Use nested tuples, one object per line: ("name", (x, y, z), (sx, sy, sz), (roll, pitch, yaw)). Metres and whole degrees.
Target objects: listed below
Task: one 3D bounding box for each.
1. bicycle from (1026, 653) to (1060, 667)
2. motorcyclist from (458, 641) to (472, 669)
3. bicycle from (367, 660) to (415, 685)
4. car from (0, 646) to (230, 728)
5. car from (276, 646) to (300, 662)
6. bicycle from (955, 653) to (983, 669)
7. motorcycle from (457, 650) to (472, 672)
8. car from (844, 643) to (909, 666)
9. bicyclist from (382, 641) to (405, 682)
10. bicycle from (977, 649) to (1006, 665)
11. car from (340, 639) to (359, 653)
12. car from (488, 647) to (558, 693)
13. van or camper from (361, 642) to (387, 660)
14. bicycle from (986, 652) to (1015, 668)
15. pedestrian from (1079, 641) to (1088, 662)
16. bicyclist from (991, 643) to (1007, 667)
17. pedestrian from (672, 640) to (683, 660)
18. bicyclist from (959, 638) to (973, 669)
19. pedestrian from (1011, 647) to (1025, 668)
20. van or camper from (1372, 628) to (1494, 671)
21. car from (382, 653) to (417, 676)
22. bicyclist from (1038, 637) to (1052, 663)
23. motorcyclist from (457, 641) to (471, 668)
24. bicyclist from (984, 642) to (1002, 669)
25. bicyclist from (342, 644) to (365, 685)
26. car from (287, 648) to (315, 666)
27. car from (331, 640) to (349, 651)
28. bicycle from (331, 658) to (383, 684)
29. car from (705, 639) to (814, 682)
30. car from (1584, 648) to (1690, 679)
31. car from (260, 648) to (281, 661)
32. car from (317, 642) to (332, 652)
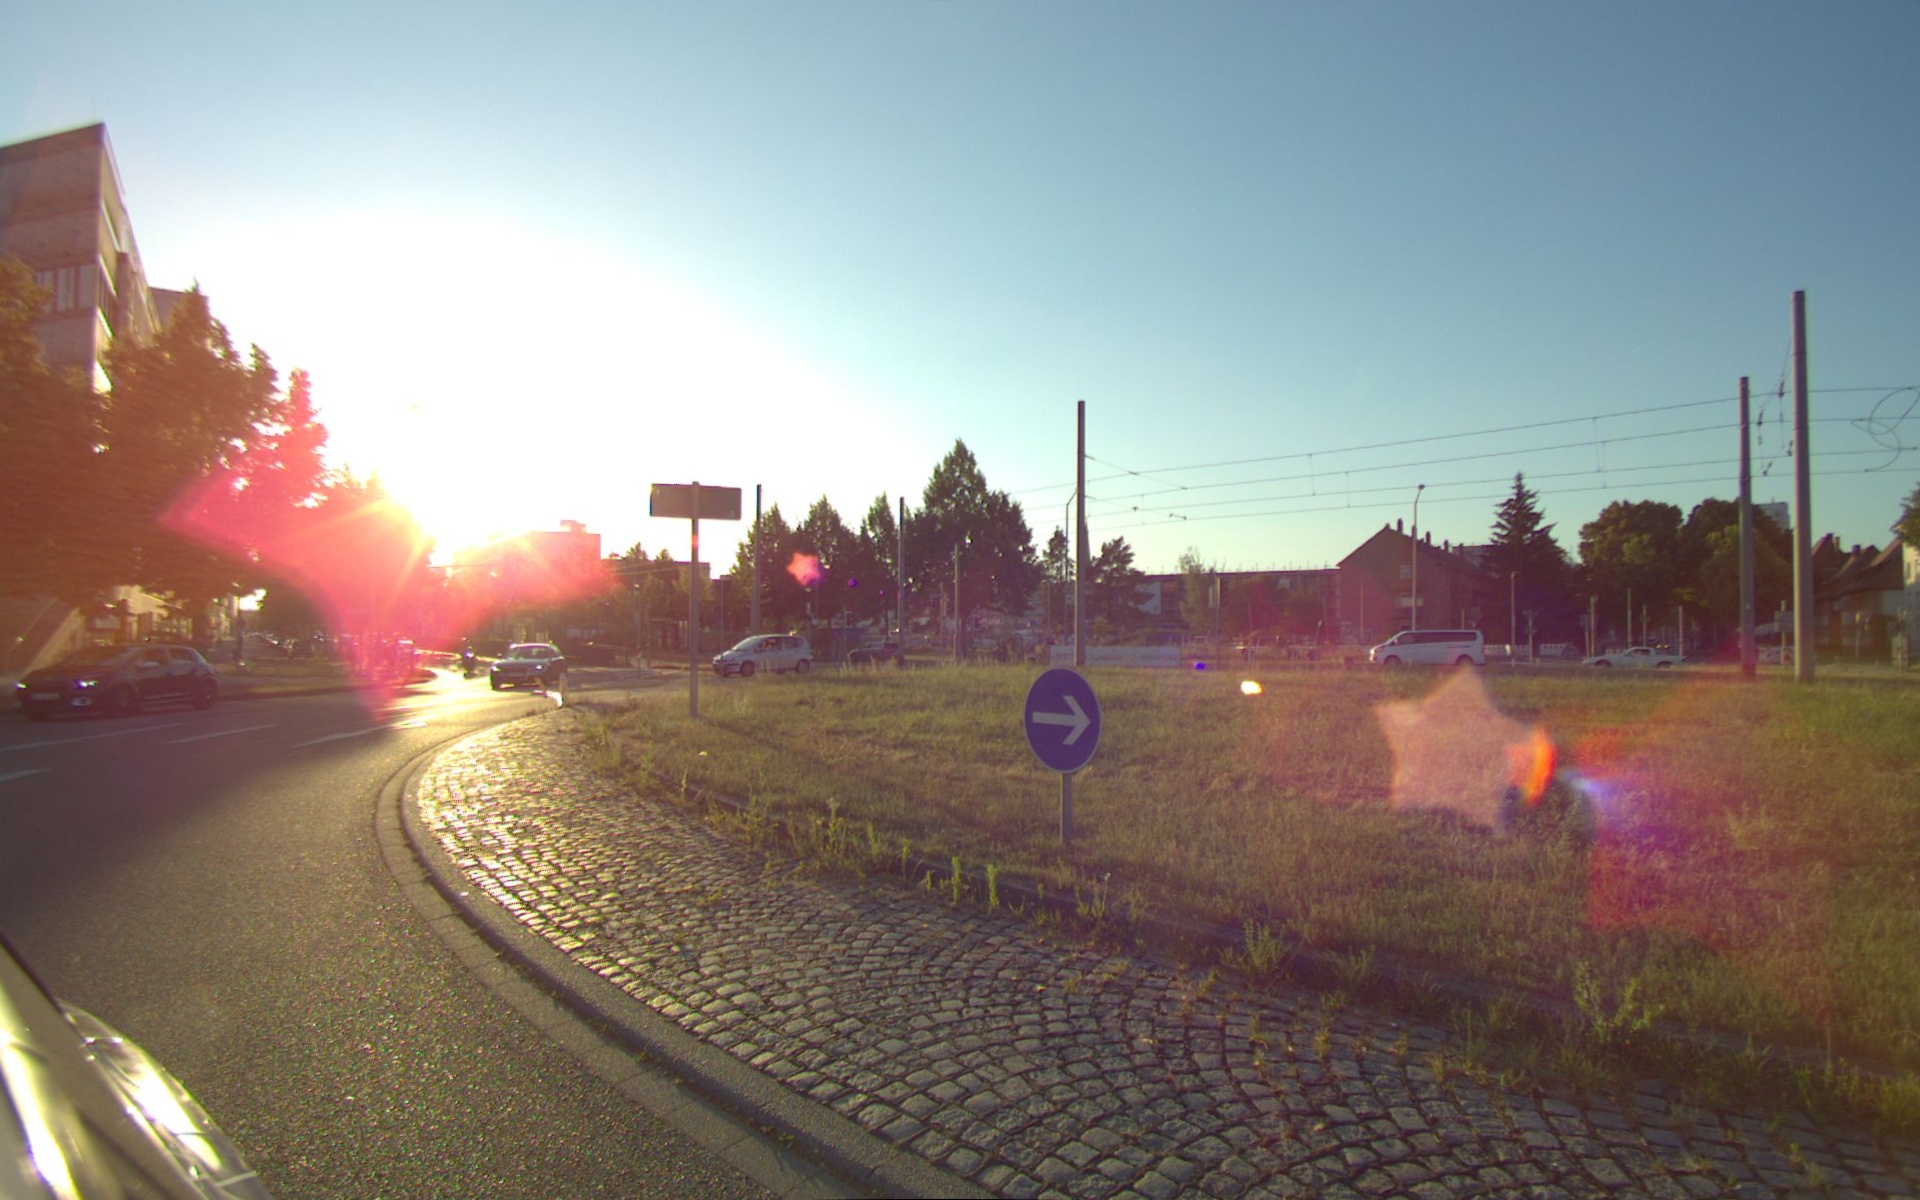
("bicycle", (5.304, 3.808, 64.391), (2.115, 0.852, 0.510), (-1, -3, 14))
("motorcyclist", (-26.193, 2.902, 53.564), (0.625, 1.427, 0.717), (1, -2, -30))
("bicycle", (-25.169, 3.192, 44.786), (1.831, 1.030, 0.439), (1, -3, -28))
("car", (-17.148, 1.692, 20.656), (1.776, 1.475, 4.003), (0, -2, -3))
("car", (-65.152, 5.216, 98.100), (1.773, 1.475, 4.009), (1, -3, -36))
("bicycle", (0.596, 3.930, 65.347), (1.812, 0.988, 0.551), (1, -3, -32))
("motorcycle", (-26.319, 3.221, 53.779), (0.548, 1.109, 2.166), (1, -2, -30))
("car", (-5.581, 3.620, 67.245), (1.901, 1.426, 4.658), (2, -4, -41))
("bicyclist", (-24.937, 2.712, 44.560), (0.835, 1.769, 0.806), (1, -3, -29))
("bicycle", (2.015, 3.623, 64.116), (1.812, 0.988, 0.551), (1, -3, -32))
("car", (-81.148, 6.064, 134.466), (1.692, 1.852, 4.007), (1, -3, -39))
("car", (-14.725, 2.329, 34.308), (1.772, 1.434, 4.462), (0, -3, -18))
("van or camper", (-67.265, 5.873, 116.133), (1.967, 1.972, 5.341), (1, -2, -36))
("bicycle", (2.540, 3.764, 63.485), (1.812, 0.988, 0.538), (1, -3, -32))
("pedestrian", (8.055, 3.376, 66.115), (0.500, 1.377, 0.430), (-2, -3, 23))
("bicyclist", (2.468, 3.455, 63.446), (0.801, 1.517, 0.594), (1, -3, -32))
("pedestrian", (-23.394, 4.140, 83.810), (0.697, 1.645, 0.447), (1, -3, -37))
("bicyclist", (0.406, 3.444, 65.263), (0.666, 1.933, 0.617), (1, -3, -32))
("pedestrian", (3.759, 3.739, 66.172), (0.608, 1.377, 0.697), (1, -3, -32))
("van or camper", (23.604, 2.516, 50.719), (5.261, 2.025, 1.903), (-2, -3, 19))
("car", (-41.273, 4.723, 74.495), (1.861, 1.492, 4.061), (1, -2, -35))
("bicyclist", (5.418, 3.169, 64.274), (0.791, 1.646, 0.692), (-1, -3, 14))
("motorcyclist", (-26.517, 2.905, 54.141), (0.625, 1.419, 0.596), (1, -2, -30))
("bicyclist", (2.088, 3.505, 64.190), (0.801, 1.653, 0.817), (1, -3, -32))
("bicyclist", (-25.286, 2.687, 42.195), (0.674, 1.661, 0.684), (2, -4, -45))
("car", (-55.639, 4.762, 85.433), (1.773, 1.475, 4.009), (1, -3, -36))
("car", (-91.348, 6.668, 149.094), (1.864, 1.635, 4.008), (1, -3, -38))
("bicycle", (-25.168, 2.952, 42.266), (0.308, 1.030, 1.836), (-3, -4, 44))
("car", (-7.298, 2.187, 37.079), (1.607, 1.477, 3.656), (-3, -4, 44))
("car", (29.632, 2.756, 44.331), (3.773, 1.265, 1.560), (-3, -2, 37))
("car", (-75.706, 5.969, 111.116), (1.773, 1.475, 4.009), (1, -3, -36))
("car", (-101.501, 7.520, 161.738), (1.773, 1.475, 4.009), (1, -3, -36))
